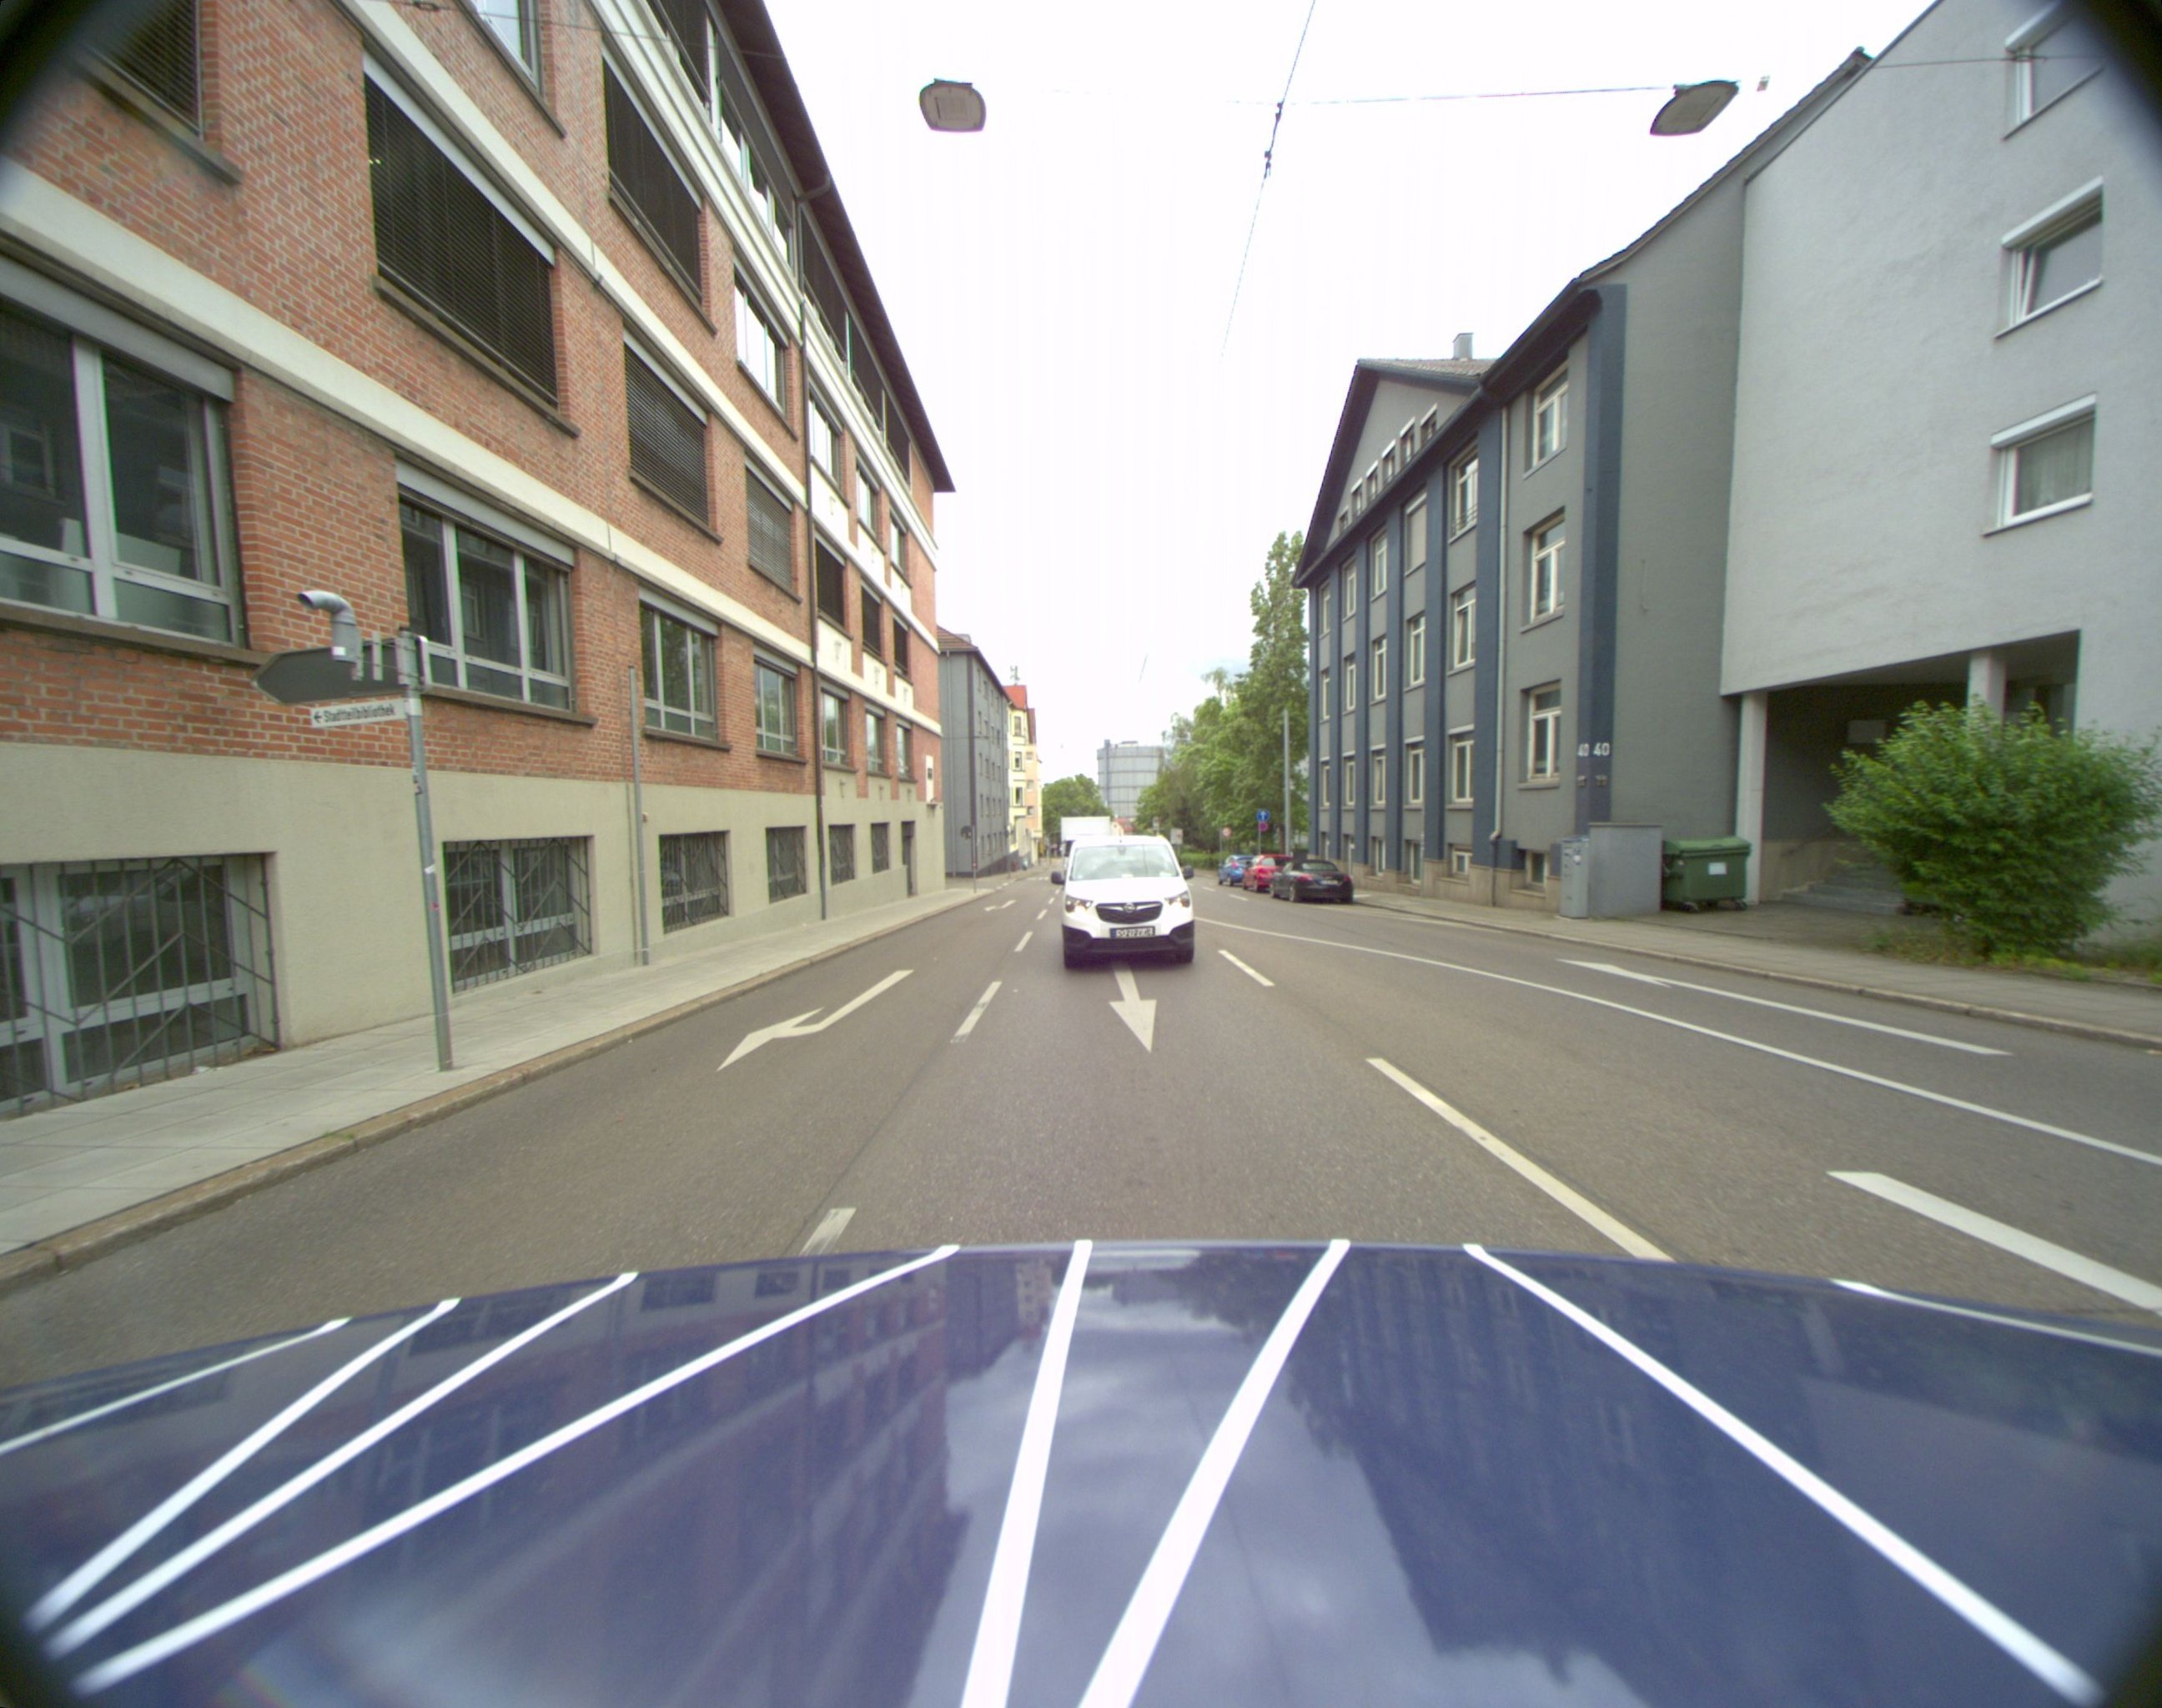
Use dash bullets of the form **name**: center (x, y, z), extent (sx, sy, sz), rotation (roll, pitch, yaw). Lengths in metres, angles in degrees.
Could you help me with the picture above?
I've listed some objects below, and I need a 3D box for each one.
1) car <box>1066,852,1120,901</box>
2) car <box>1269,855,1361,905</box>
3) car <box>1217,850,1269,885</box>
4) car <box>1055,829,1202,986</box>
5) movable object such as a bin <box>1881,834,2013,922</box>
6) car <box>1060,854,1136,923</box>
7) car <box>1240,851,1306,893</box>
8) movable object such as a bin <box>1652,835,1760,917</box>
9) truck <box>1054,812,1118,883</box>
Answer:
- **car**: center (0.421, 0.750, 27.461), extent (1.739, 1.520, 3.999), rotation (-2, 1, 1)
- **car**: center (7.317, 0.755, 24.109), extent (1.801, 1.384, 3.728), rotation (-1, 1, 1)
- **car**: center (7.532, 0.577, 35.580), extent (1.644, 1.441, 3.728), rotation (-2, 1, 1)
- **car**: center (0.611, 0.631, 11.392), extent (1.739, 1.875, 3.999), rotation (-2, 1, 1)
- **movable object such as a bin**: center (14.885, 0.386, 13.104), extent (1.039, 1.408, 1.078), rotation (-2, 1, 0)
- **car**: center (0.428, 0.811, 19.988), extent (1.739, 1.520, 3.999), rotation (-2, 1, 1)
- **car**: center (7.469, 0.658, 29.902), extent (1.644, 1.441, 3.728), rotation (-2, 1, 1)
- **movable object such as a bin**: center (12.140, 0.406, 14.799), extent (1.229, 1.498, 1.040), rotation (-2, 1, 1)
- **truck**: center (0.299, -0.378, 41.784), extent (2.969, 3.409, 8.878), rotation (-2, 1, 1)
